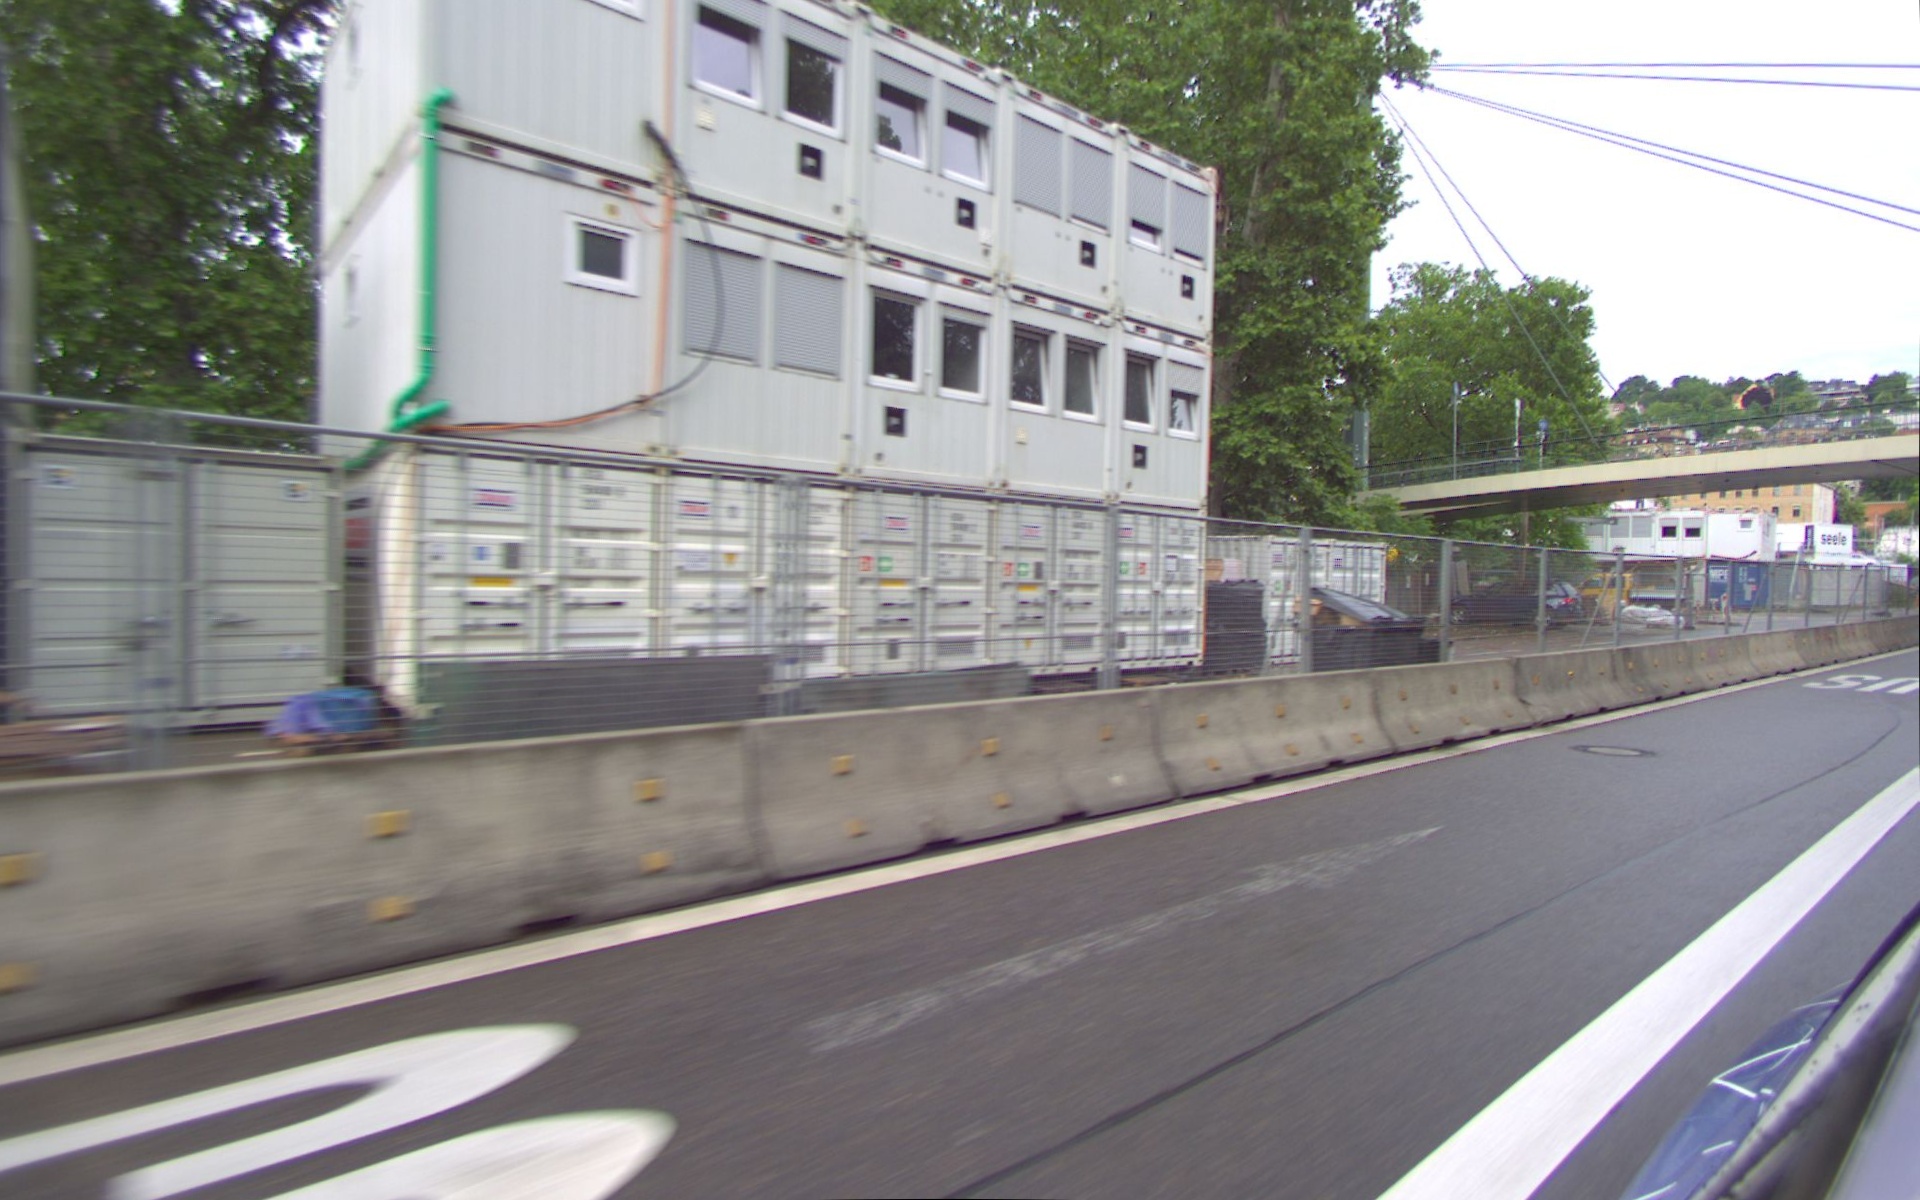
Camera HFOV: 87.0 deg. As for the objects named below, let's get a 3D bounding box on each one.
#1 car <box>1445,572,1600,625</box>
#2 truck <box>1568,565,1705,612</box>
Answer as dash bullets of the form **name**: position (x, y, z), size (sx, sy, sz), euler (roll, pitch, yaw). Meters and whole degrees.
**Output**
- **car**: position (20.110, -0.116, 36.312), size (1.967, 1.749, 4.503), euler (-2, 3, -44)
- **truck**: position (32.450, -0.621, 48.649), size (5.156, 2.038, 2.371), euler (3, 5, 45)
